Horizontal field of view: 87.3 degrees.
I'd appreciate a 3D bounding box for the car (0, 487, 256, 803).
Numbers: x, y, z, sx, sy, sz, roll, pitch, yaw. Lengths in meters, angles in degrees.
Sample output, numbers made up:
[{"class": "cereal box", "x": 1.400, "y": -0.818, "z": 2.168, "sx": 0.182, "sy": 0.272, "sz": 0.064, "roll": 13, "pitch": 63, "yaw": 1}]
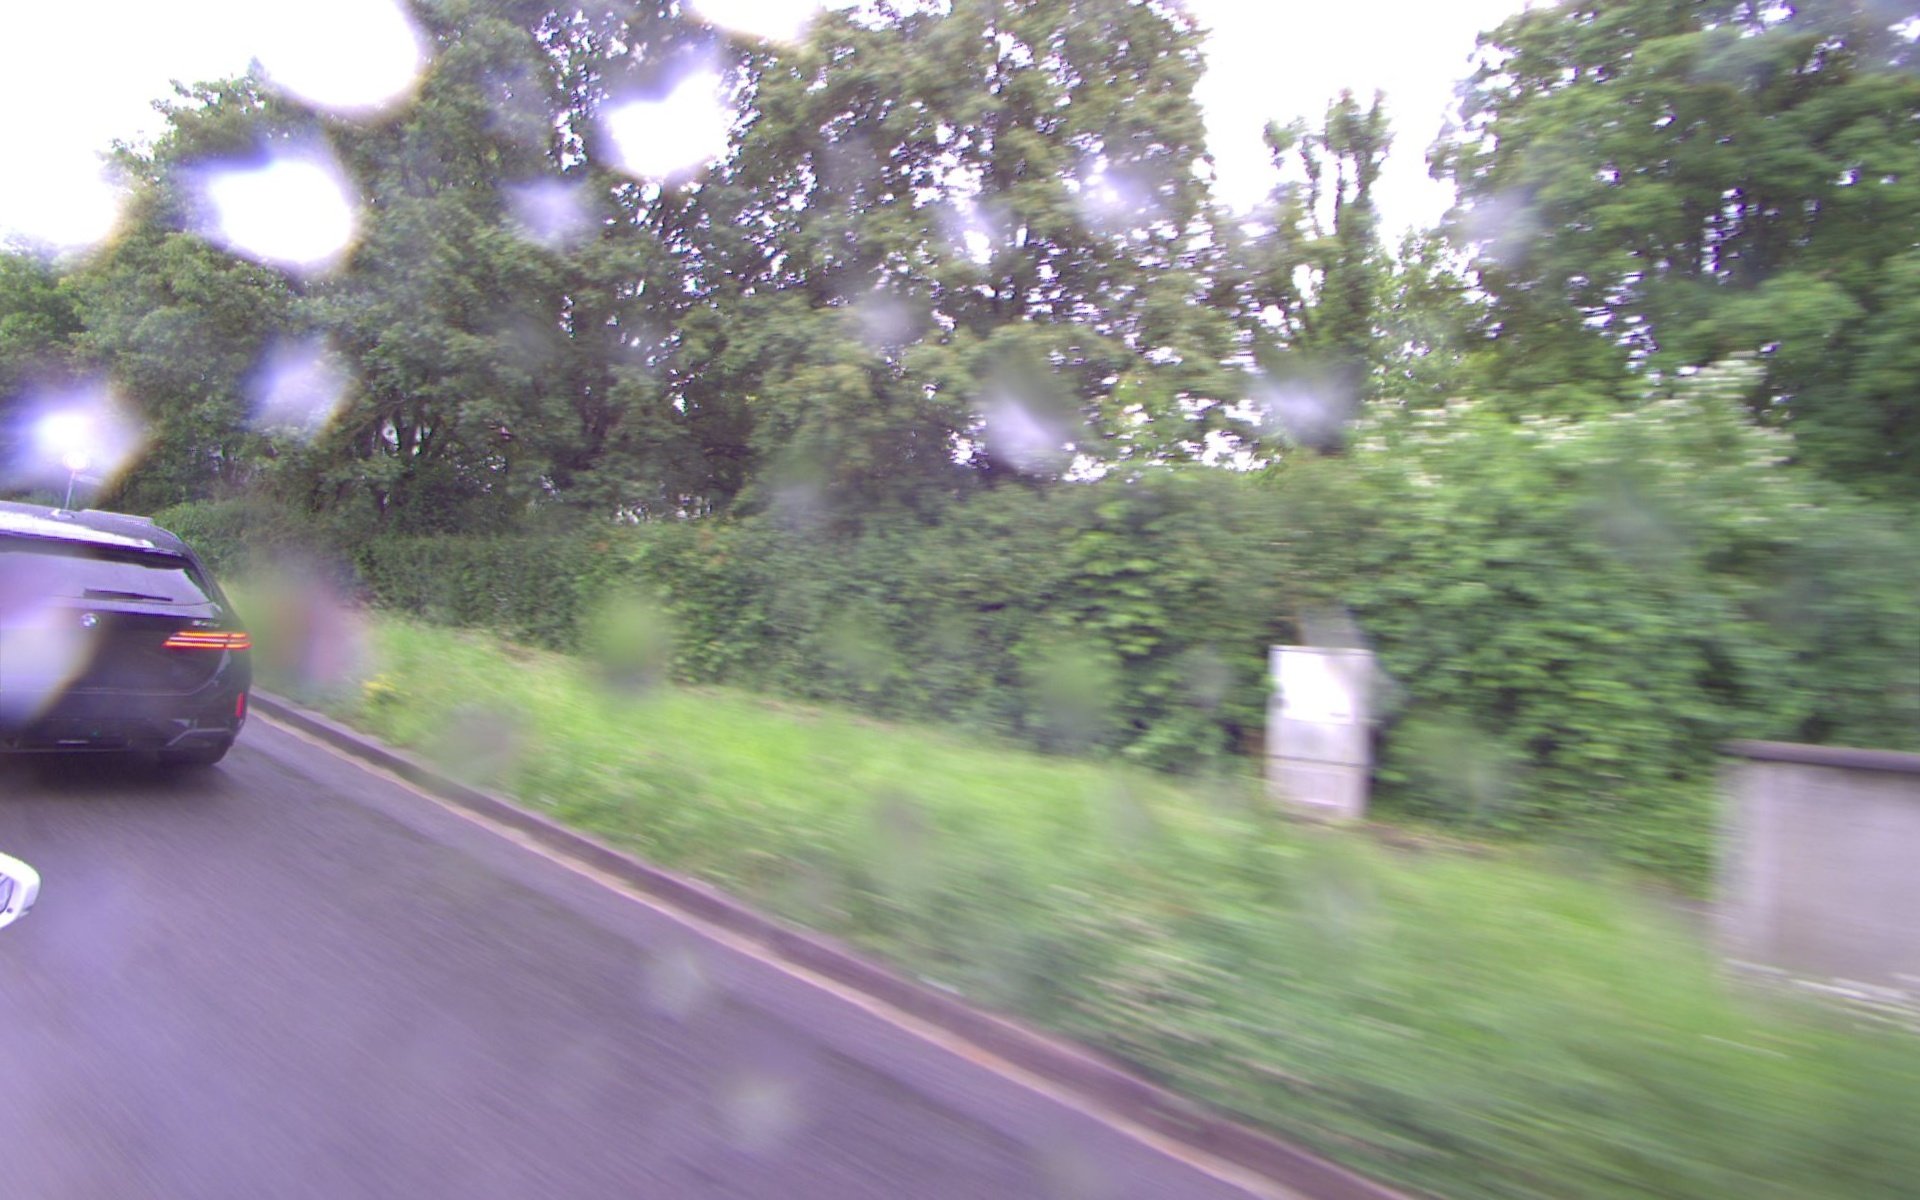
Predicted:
[{"class": "car", "x": -6.035, "y": 0.104, "z": 6.213, "sx": 3.620, "sy": 1.554, "sz": 1.764, "roll": 6, "pitch": -2, "yaw": 40}]
